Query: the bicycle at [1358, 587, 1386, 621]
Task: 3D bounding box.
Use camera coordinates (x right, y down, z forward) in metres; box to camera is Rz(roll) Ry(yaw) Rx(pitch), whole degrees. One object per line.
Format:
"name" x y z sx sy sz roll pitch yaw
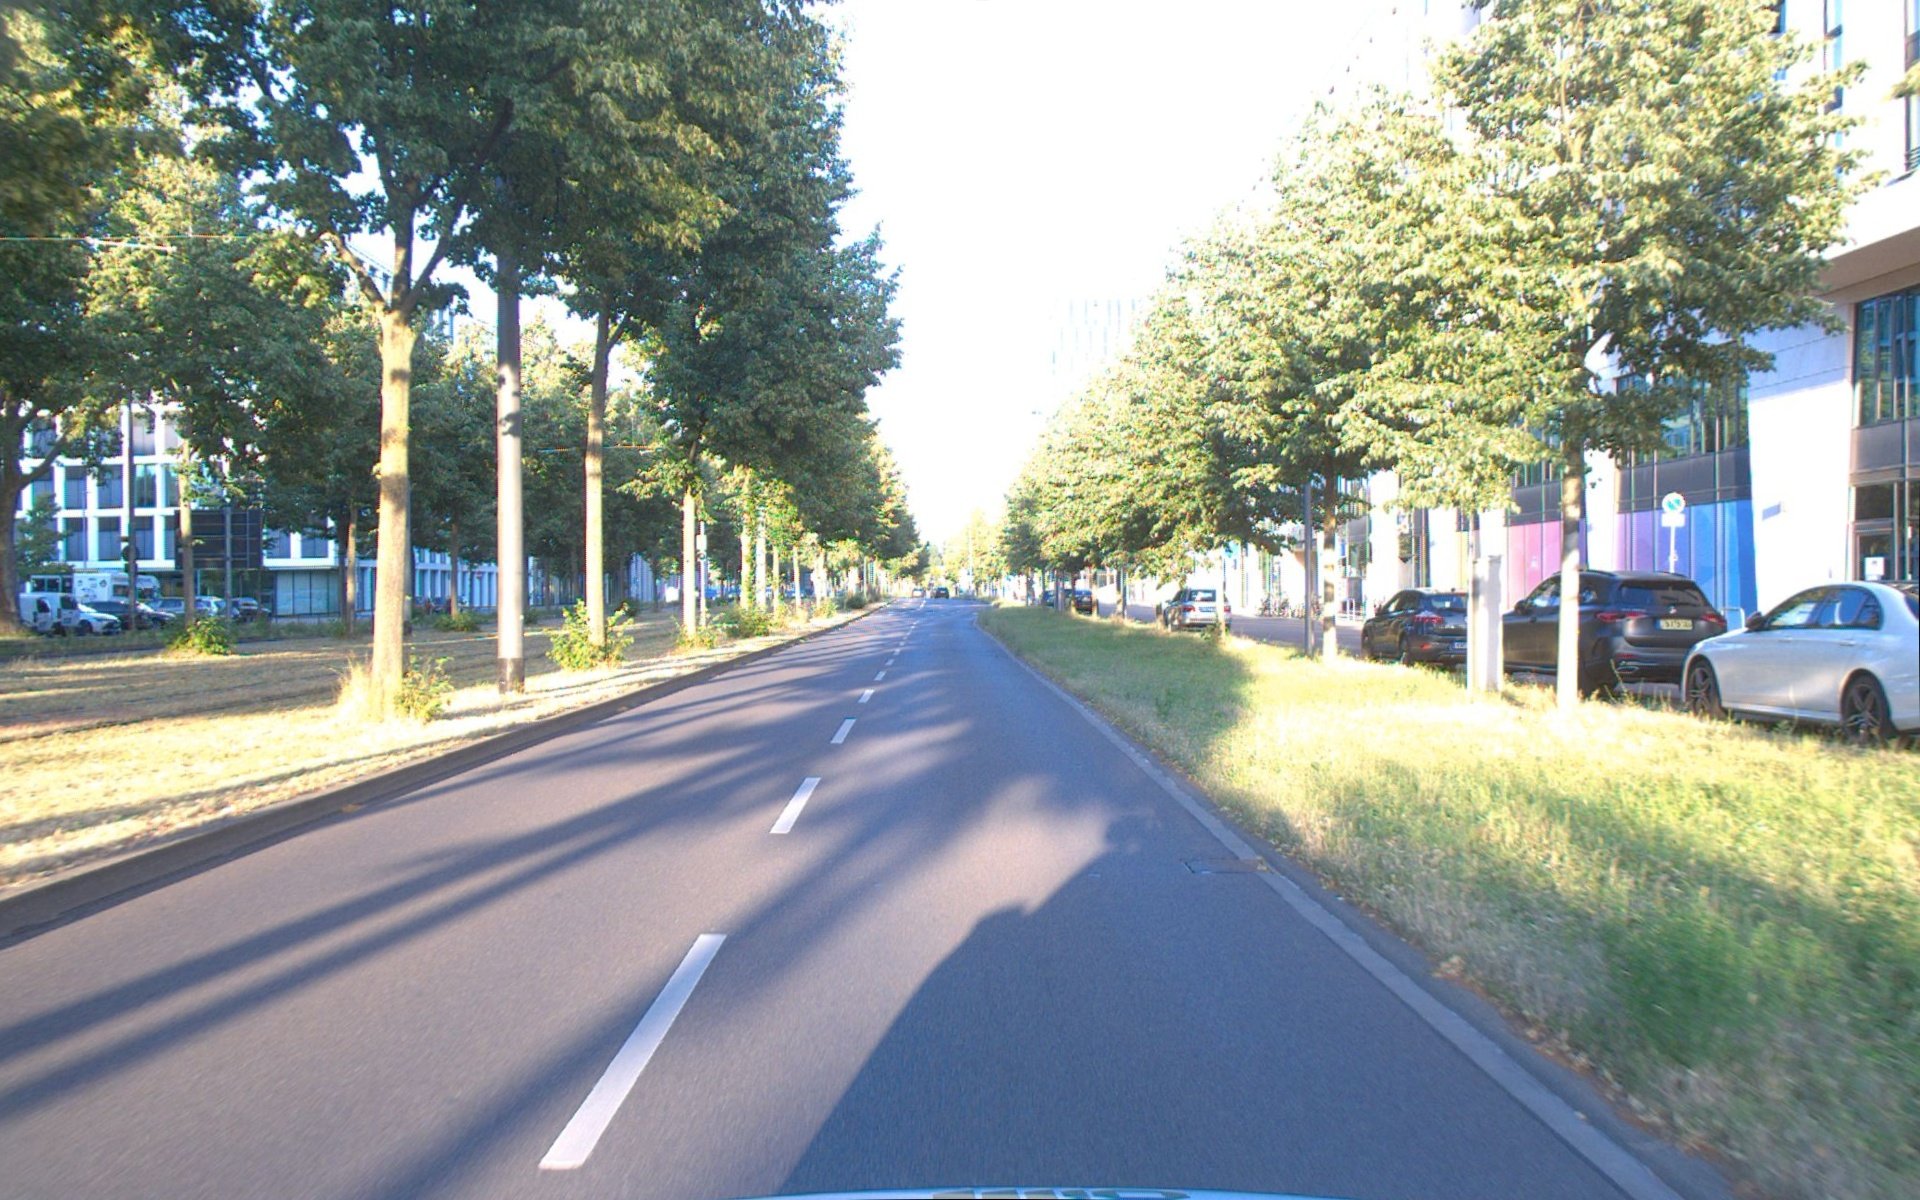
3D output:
"bicycle" 14.948 0.144 60.065 0.527 1.184 1.781 -2 1 0

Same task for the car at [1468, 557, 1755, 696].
"car" 8.745 0.305 22.735 1.914 1.652 4.819 2 0 -2

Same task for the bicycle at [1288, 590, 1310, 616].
"bicycle" 14.593 0.121 71.184 0.522 1.079 1.857 -2 1 -1

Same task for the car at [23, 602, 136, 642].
"car" -38.276 0.951 71.930 3.902 1.668 1.923 -1 0 6

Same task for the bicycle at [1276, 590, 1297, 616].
"bicycle" 14.659 0.128 74.297 0.522 1.079 1.857 -2 1 -1

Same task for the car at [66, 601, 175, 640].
"car" -37.724 0.916 74.372 3.908 1.668 1.920 -1 0 -4

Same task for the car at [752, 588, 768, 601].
"car" -24.031 -0.654 198.773 1.797 1.516 3.504 -1 1 -5

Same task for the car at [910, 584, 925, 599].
"car" -5.885 -1.207 230.021 2.045 2.049 3.999 0 1 -2

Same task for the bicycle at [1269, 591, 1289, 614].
"bicycle" 14.810 0.107 76.797 0.522 1.079 1.857 -1 0 -1

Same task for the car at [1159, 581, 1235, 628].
"car" 8.027 0.117 56.389 1.772 1.527 4.824 0 1 -2

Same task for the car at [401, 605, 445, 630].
"car" -36.281 1.180 111.821 1.822 1.609 3.492 0 0 0

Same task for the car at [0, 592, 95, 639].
"car" -38.646 0.644 69.156 3.905 1.877 2.012 -1 0 -1

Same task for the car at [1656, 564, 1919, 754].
"car" 8.581 0.445 15.522 1.882 1.527 5.008 0 1 -2

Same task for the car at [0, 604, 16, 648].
"car" -38.540 1.001 63.062 3.908 1.668 1.920 -1 0 -4

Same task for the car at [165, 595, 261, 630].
"car" -36.969 0.604 81.931 3.908 1.668 1.920 -1 0 -4

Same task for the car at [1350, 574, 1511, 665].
"car" 8.487 0.314 30.216 1.689 1.527 4.232 1 1 -1

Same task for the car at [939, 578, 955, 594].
"car" -1.735 -1.807 214.528 1.953 2.049 3.999 0 1 -2

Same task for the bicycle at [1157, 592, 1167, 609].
"bicycle" 13.918 0.030 113.815 0.558 1.144 1.835 -2 1 10

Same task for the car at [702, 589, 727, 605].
"car" -24.424 -0.309 164.644 1.879 1.534 4.286 -1 0 -1

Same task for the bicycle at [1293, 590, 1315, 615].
"bicycle" 15.215 0.094 73.181 0.522 1.079 1.857 -2 1 -1

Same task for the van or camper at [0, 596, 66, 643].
"van or camper" -38.236 0.792 66.122 3.916 1.822 1.995 -1 0 -11

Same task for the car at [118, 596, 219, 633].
"car" -37.934 0.688 79.364 3.908 1.668 1.920 -1 0 -4

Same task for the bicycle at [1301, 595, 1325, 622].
"bicycle" 14.411 0.336 67.458 0.522 1.079 1.857 -2 1 -1

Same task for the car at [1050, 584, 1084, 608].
"car" 6.969 -0.263 107.638 1.817 1.556 4.482 1 0 -1

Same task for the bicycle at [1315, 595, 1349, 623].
"bicycle" 14.686 0.337 65.376 0.524 1.079 1.851 -3 1 -13

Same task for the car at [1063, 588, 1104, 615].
"car" 7.460 0.061 100.259 1.905 1.576 4.809 -1 0 -3

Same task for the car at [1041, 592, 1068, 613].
"car" 7.220 0.177 126.404 1.689 1.556 4.267 1 0 -1

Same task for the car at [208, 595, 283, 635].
"car" -38.453 0.769 89.128 1.953 2.049 4.930 -1 0 -2

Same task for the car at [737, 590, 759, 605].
"car" -22.678 -0.265 177.010 1.847 1.605 4.181 -1 0 -2

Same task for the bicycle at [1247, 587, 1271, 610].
"bicycle" 14.033 -0.069 77.669 0.523 1.079 1.776 -2 1 -10

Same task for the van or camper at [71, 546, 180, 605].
"van or camper" -46.454 -1.339 92.279 2.654 3.139 6.264 0 0 3

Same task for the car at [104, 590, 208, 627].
"car" -37.642 0.406 77.484 3.908 1.668 1.920 -1 0 -4
